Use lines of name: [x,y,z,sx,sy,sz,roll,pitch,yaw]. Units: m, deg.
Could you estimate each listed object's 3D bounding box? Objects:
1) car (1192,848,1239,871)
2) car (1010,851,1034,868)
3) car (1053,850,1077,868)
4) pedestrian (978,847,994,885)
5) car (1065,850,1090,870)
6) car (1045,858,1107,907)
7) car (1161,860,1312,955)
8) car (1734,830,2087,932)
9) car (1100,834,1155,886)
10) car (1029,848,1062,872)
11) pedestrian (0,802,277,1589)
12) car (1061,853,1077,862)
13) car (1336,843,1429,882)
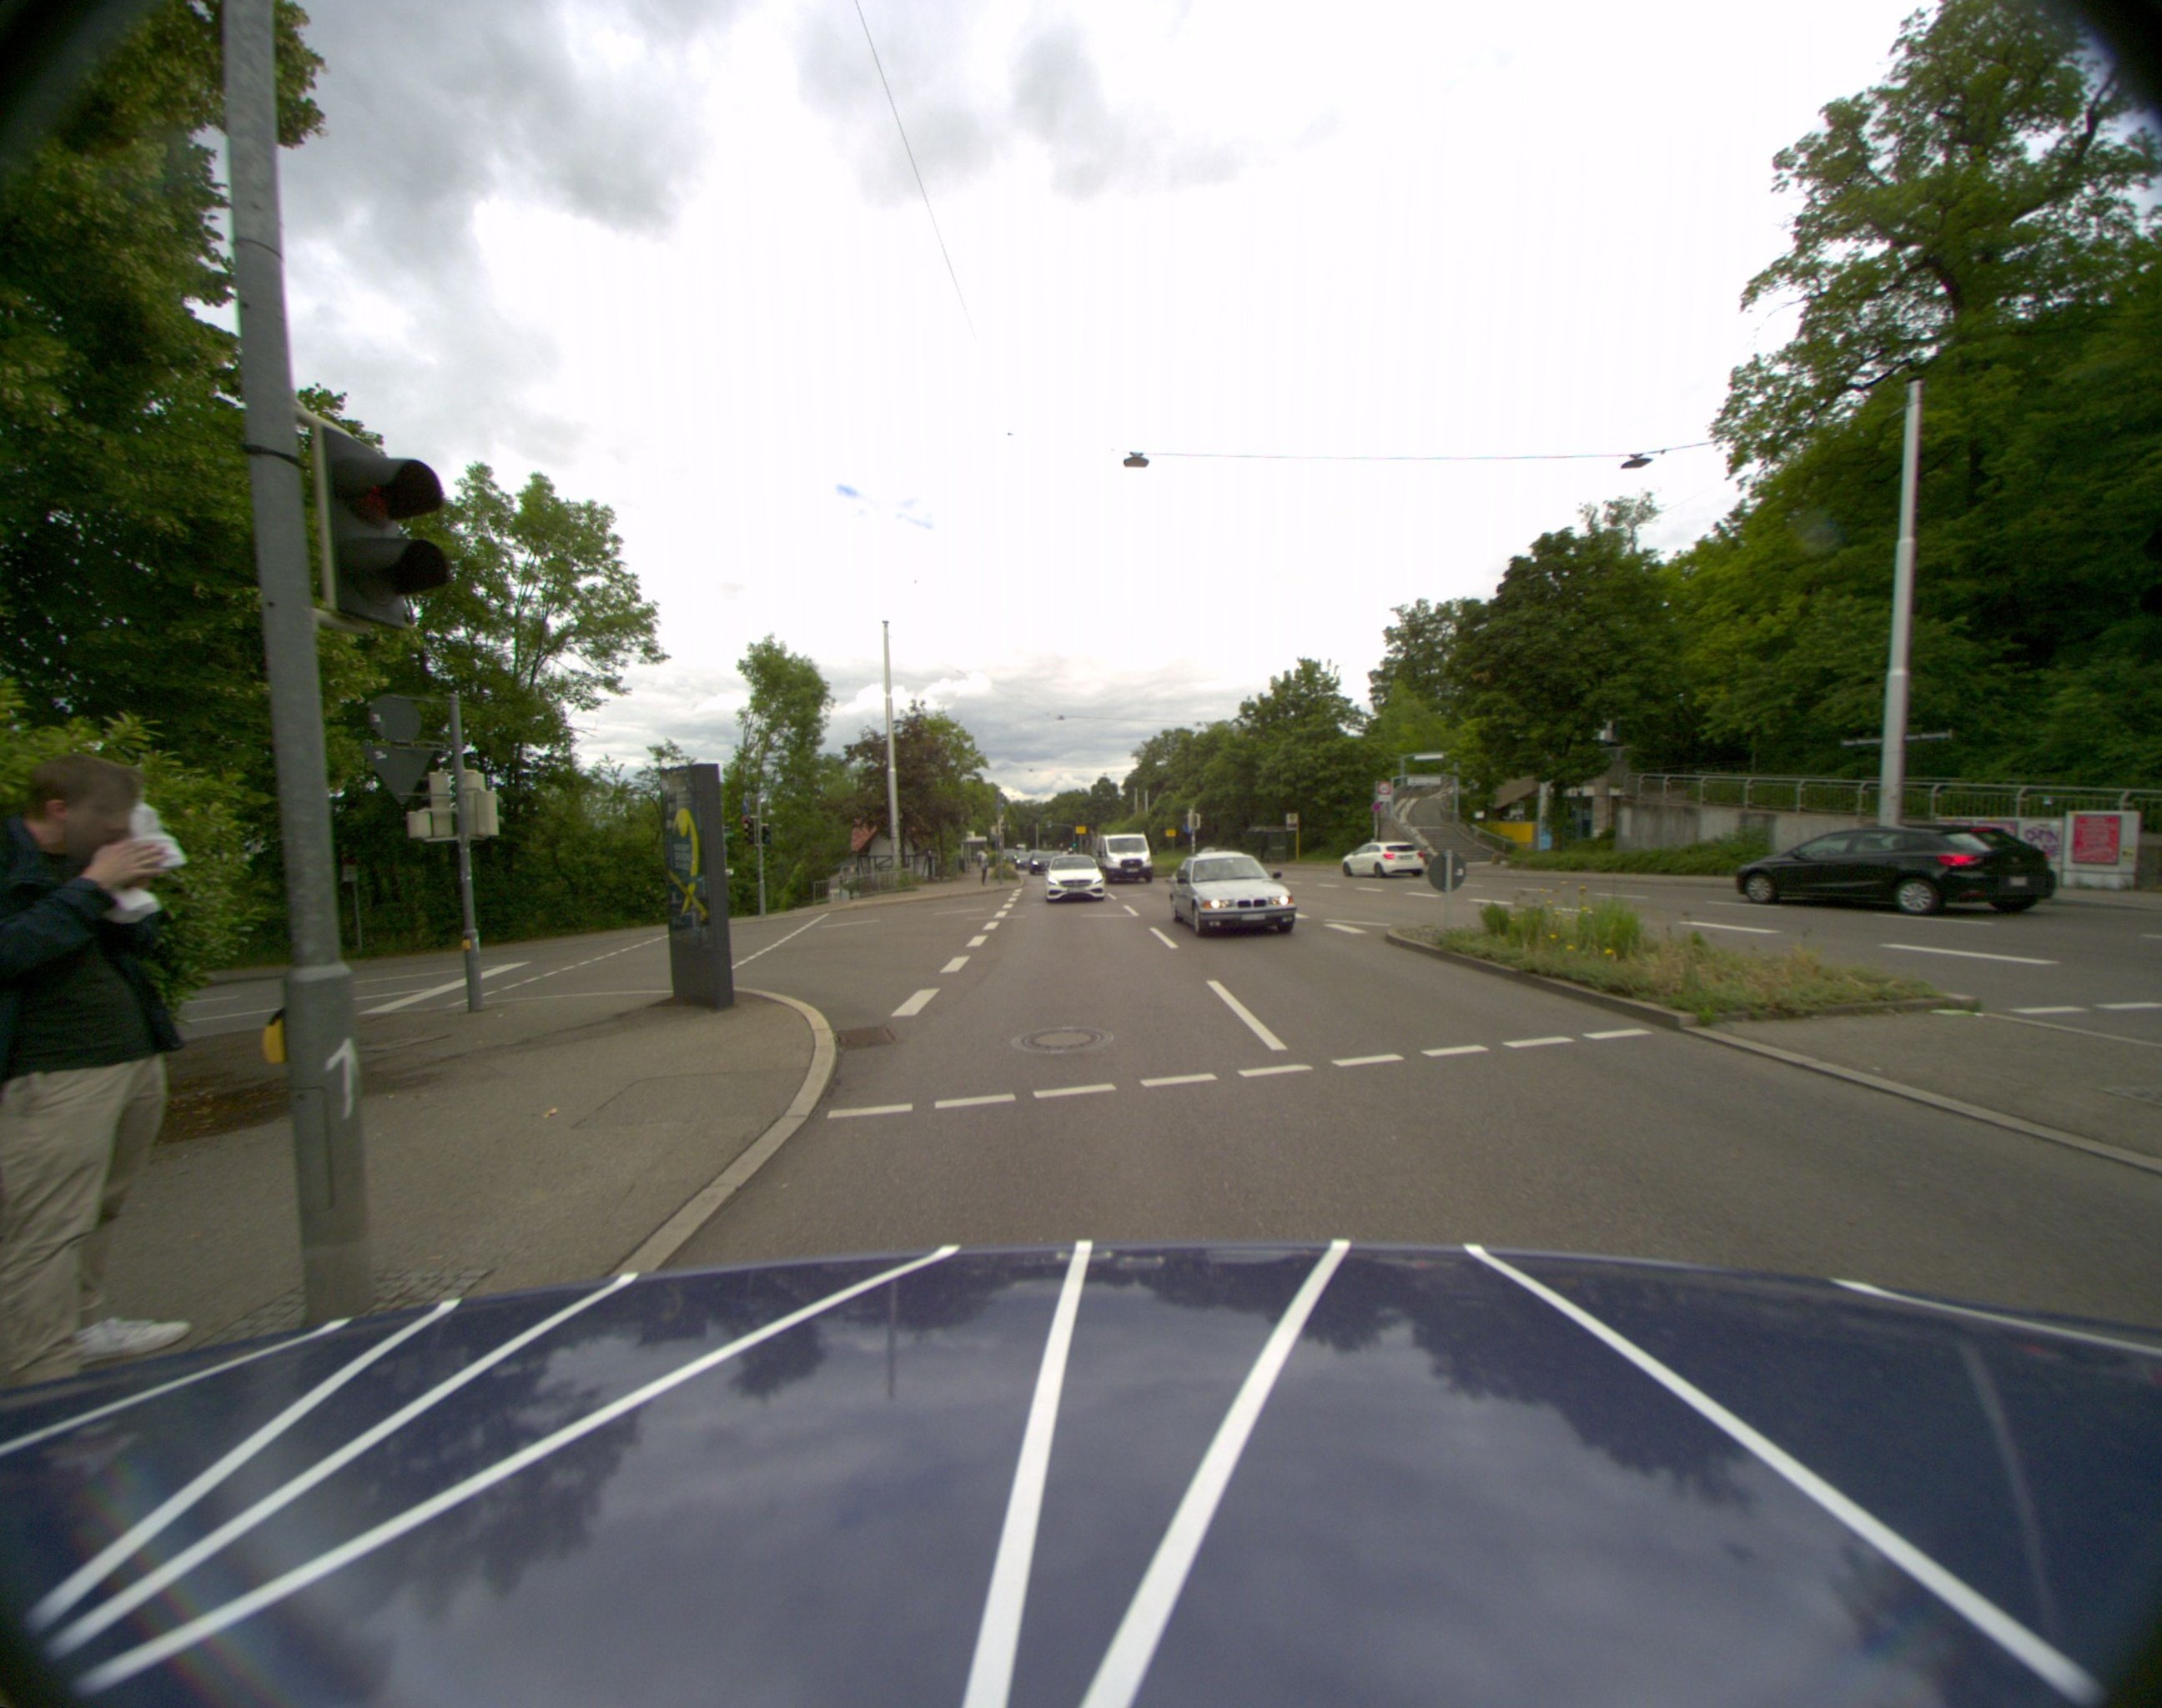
car: [9.158,0.362,52.237,1.657,1.440,4.563,-3,0,-10]
car: [-5.162,0.446,66.298,1.808,1.385,4.281,-2,0,-7]
car: [-1.447,0.476,69.059,1.679,1.532,4.612,-1,0,-7]
pedestrian: [-4.280,0.539,34.247,0.620,1.679,0.695,-1,1,-4]
car: [-0.326,0.466,62.097,1.678,1.532,4.551,-1,0,-4]
car: [-0.205,0.856,24.459,1.807,1.385,4.283,-1,0,-2]
car: [2.700,0.861,14.302,1.757,1.385,4.614,-2,0,-1]
car: [13.781,0.400,13.019,1.630,1.385,3.855,-4,0,-5]
car: [2.122,0.244,35.389,2.252,2.113,6.670,-2,0,3]
car: [-2.469,0.369,51.376,1.679,1.532,4.611,-1,0,-9]
pedestrian: [-2.889,0.804,2.031,0.695,1.823,0.620,-3,1,0]
car: [-1.850,0.530,115.224,1.723,1.385,4.604,-1,0,-11]
car: [12.287,0.334,31.252,1.656,1.385,4.141,-4,0,-7]
